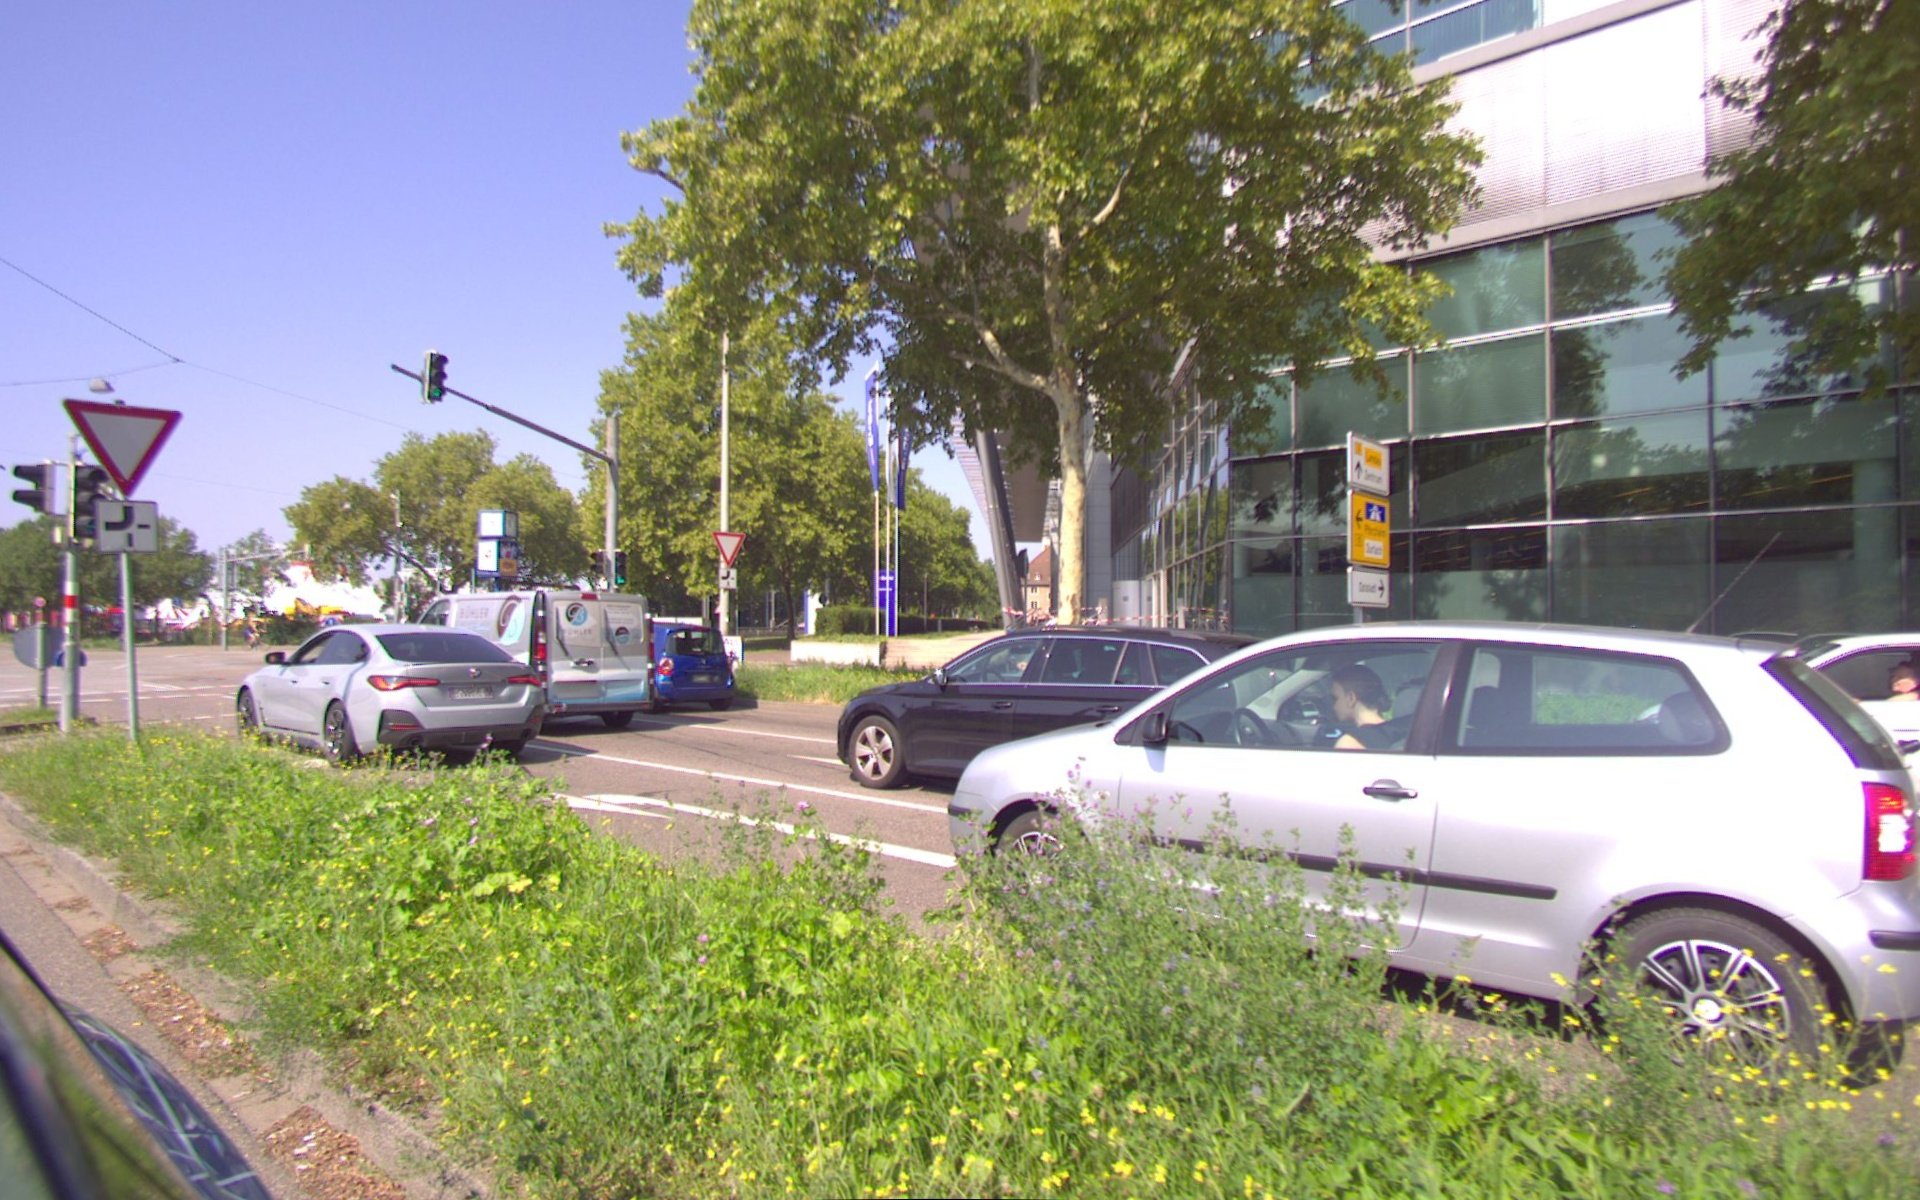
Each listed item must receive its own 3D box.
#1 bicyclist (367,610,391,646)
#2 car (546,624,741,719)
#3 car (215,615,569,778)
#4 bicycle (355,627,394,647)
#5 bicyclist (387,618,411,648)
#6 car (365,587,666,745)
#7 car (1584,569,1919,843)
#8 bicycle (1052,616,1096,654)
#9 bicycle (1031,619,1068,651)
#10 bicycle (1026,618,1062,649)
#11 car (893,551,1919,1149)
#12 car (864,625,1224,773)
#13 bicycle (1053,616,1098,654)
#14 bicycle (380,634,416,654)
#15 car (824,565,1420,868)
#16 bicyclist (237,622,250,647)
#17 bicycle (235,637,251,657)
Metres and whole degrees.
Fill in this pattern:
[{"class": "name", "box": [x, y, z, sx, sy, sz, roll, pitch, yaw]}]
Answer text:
[{"class": "bicyclist", "box": [-34.102, 1.627, 59.411, 1.197, 2.029, 0.593, -3, -2, 24]}, {"class": "car", "box": [-5.829, 1.262, 18.448, 3.728, 1.547, 1.650, -2, -4, 41]}, {"class": "car", "box": [-6.439, 0.941, 11.251, 4.601, 1.454, 1.817, -1, -4, 39]}, {"class": "bicycle", "box": [-34.429, 2.189, 59.486, 2.247, 1.096, 0.767, -2, -3, 22]}, {"class": "bicyclist", "box": [-31.587, 1.848, 56.962, 1.199, 1.606, 0.592, -4, -2, 28]}, {"class": "car", "box": [-6.738, 0.917, 15.043, 5.206, 1.973, 1.908, -2, -3, 39]}, {"class": "car", "box": [7.272, 0.787, 7.844, 3.971, 1.910, 1.908, 0, -3, 39]}, {"class": "bicycle", "box": [6.560, 1.998, 58.102, 2.388, 2.029, 0.689, -3, -2, 5]}, {"class": "bicycle", "box": [6.062, 2.345, 68.529, 2.388, 2.029, 0.689, -3, -2, 5]}, {"class": "bicycle", "box": [5.765, 2.278, 69.525, 2.388, 2.029, 0.689, -3, -2, 5]}, {"class": "car", "box": [1.742, 0.739, 4.342, 4.098, 1.547, 1.597, -2, -5, 40]}, {"class": "car", "box": [0.953, 1.128, 12.754, 4.253, 1.522, 1.762, 0, -3, 39]}, {"class": "bicycle", "box": [6.518, 2.001, 57.300, 2.388, 2.029, 0.689, -3, -2, 5]}, {"class": "bicycle", "box": [-31.627, 2.478, 56.939, 2.211, 1.096, 0.765, -4, -3, 30]}, {"class": "car", "box": [1.100, 0.780, 8.433, 4.700, 1.863, 1.699, -1, -4, 41]}, {"class": "bicyclist", "box": [-40.931, 1.991, 57.840, 0.494, 1.375, 0.699, -2, -2, -28]}, {"class": "bicycle", "box": [-40.784, 2.667, 57.590, 0.563, 1.064, 1.498, -2, -2, -29]}]
